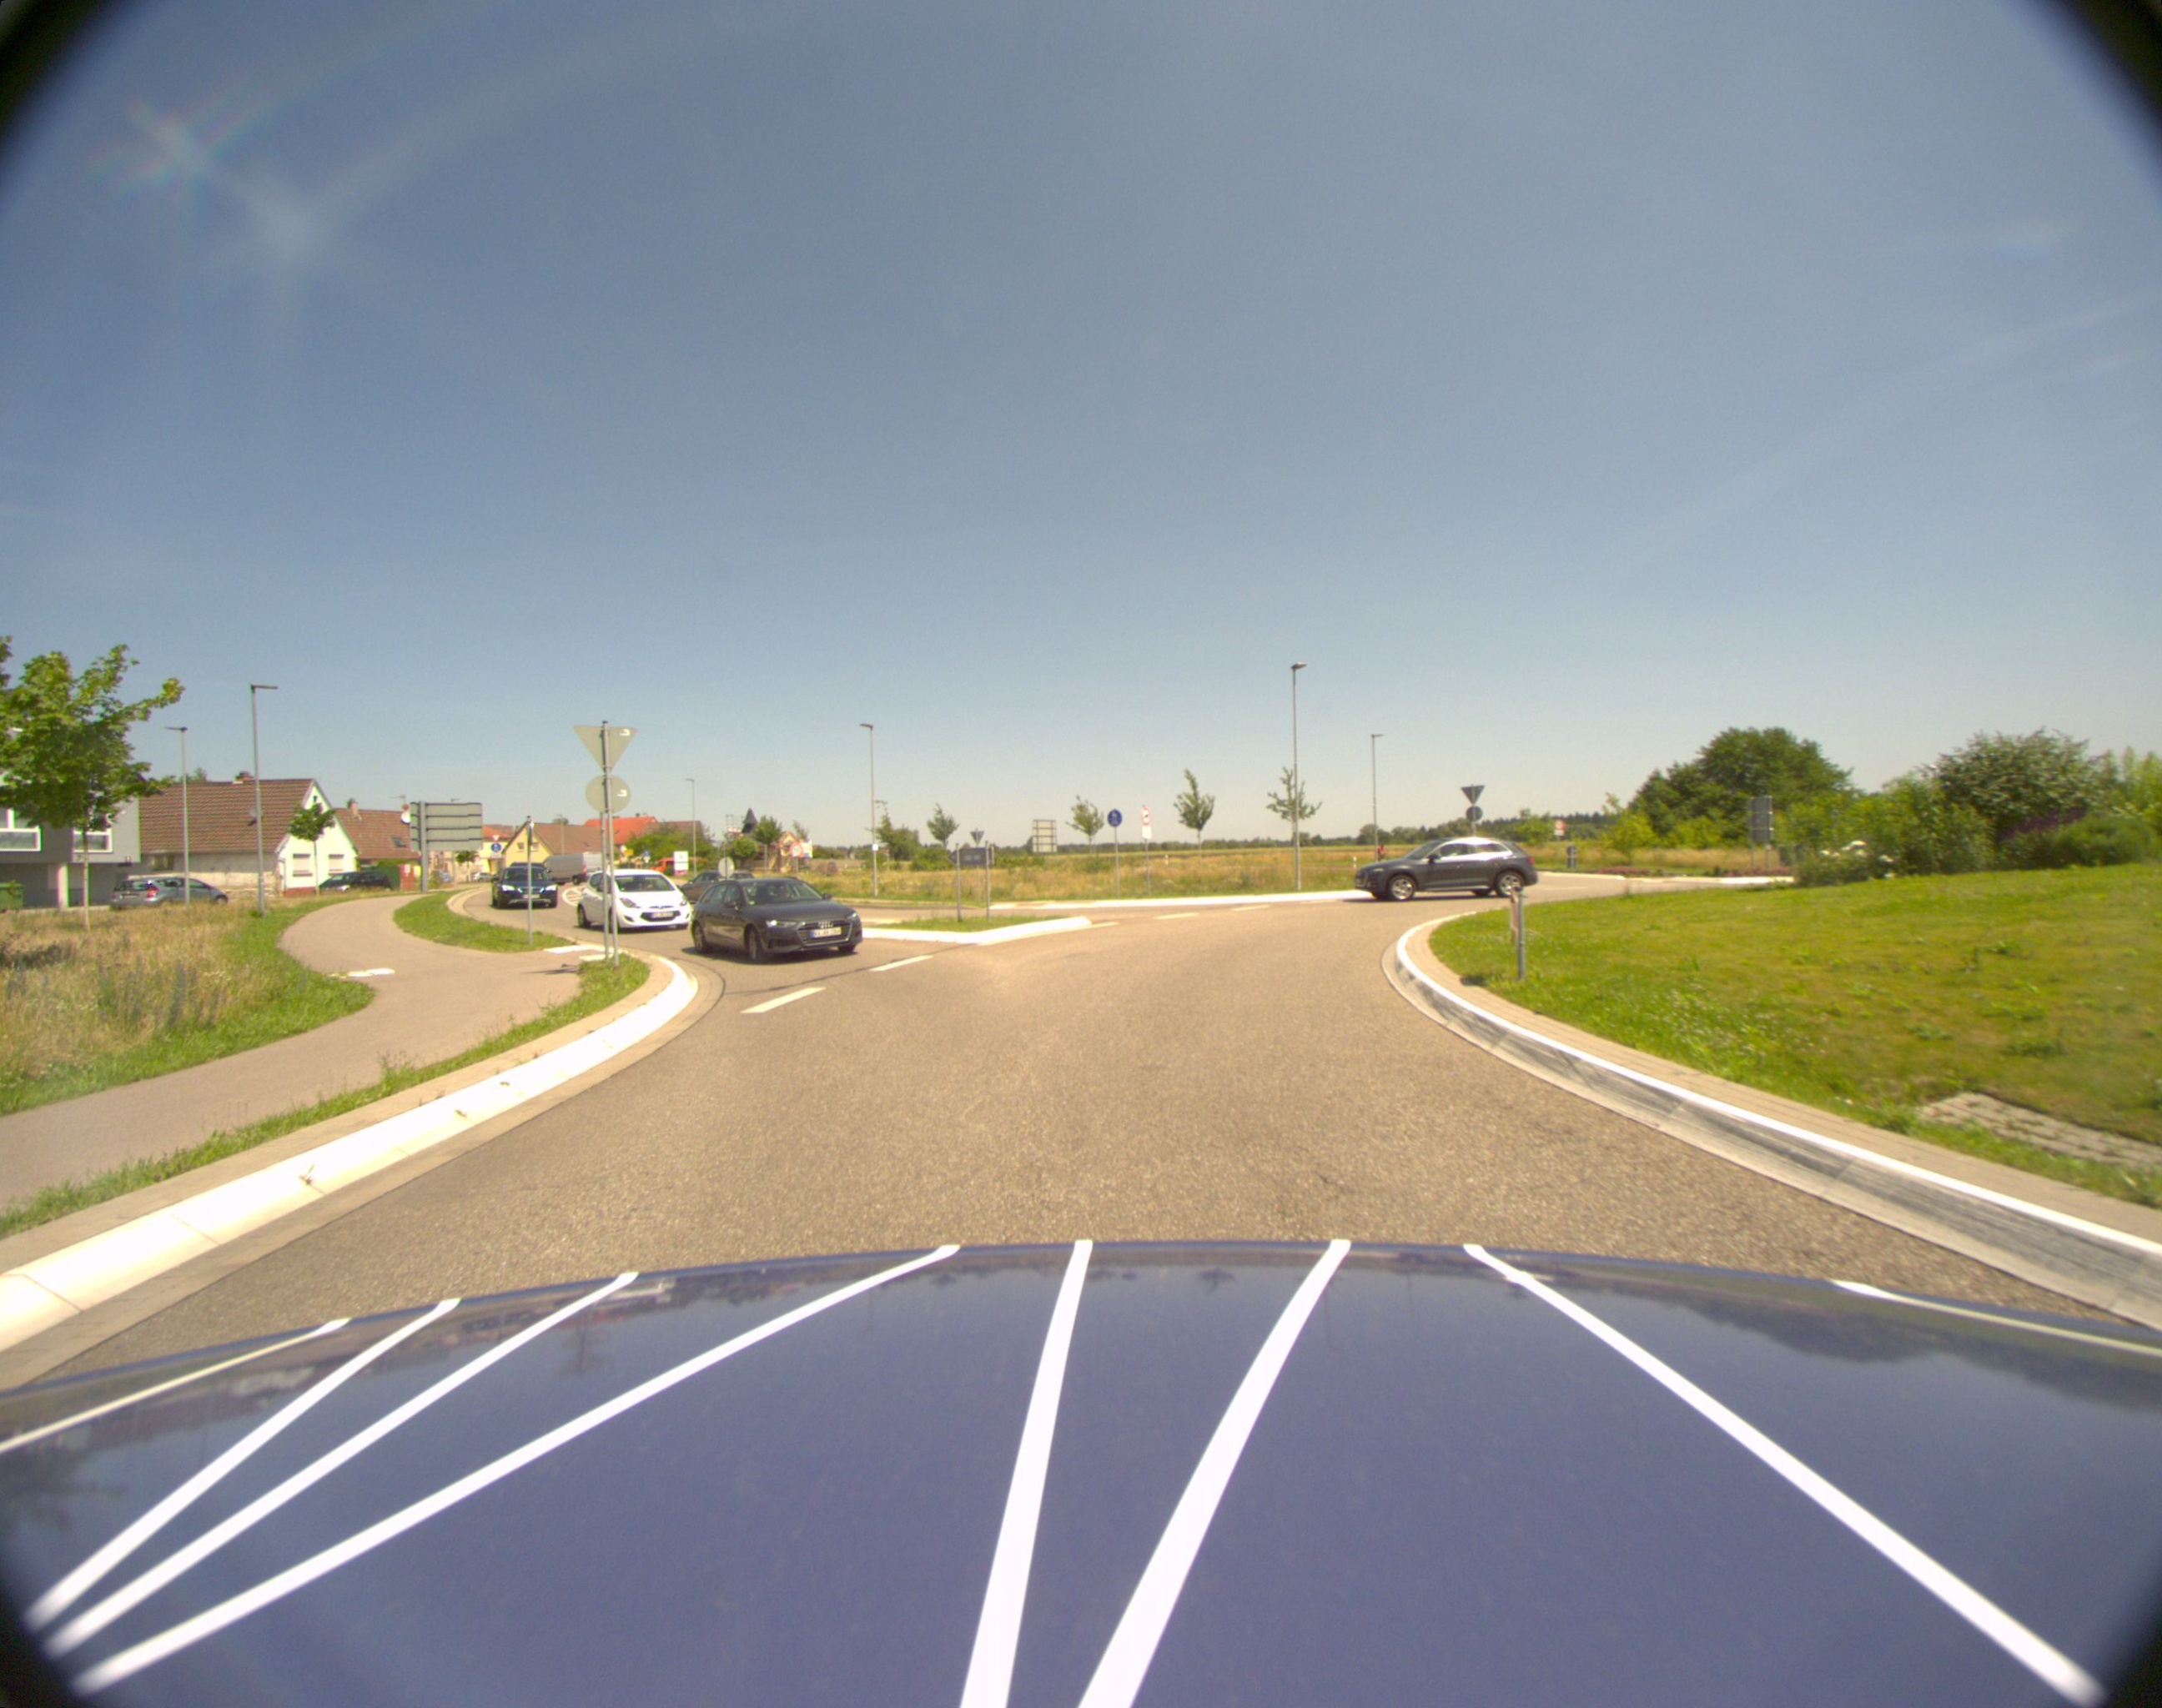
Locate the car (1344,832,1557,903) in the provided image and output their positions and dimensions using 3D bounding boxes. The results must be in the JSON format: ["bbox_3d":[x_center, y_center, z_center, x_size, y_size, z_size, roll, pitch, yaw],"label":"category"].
[{"bbox_3d":[10.106,0.380,21.116,4.884,1.639,1.954,-3,0,4],"label":"car"}]

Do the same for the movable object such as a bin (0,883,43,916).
[{"bbox_3d":[-47.738,2.041,33.916,1.086,1.381,1.202,-1,0,-8],"label":"movable object such as a bin"}]

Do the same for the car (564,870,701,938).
[{"bbox_3d":[-12.172,1.258,20.500,4.508,1.553,1.873,-1,1,43],"label":"car"}]

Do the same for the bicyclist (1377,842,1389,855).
[{"bbox_3d":[25.580,-0.449,64.292,0.580,1.072,0.722,-2,1,-37],"label":"bicyclist"}]

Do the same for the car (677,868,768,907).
[{"bbox_3d":[-15.312,1.410,32.309,4.854,1.482,1.841,-2,0,44],"label":"car"}]

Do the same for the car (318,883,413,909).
[{"bbox_3d":[-42.446,2.465,45.178,1.852,1.343,3.769,-1,0,6],"label":"car"}]

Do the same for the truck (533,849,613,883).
[{"bbox_3d":[-39.701,0.924,59.379,5.624,2.491,2.240,-1,0,19],"label":"truck"}]

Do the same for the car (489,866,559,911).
[{"bbox_3d":[-21.916,1.303,29.851,1.725,1.553,4.140,-3,1,-42],"label":"car"}]

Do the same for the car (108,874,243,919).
[{"bbox_3d":[-41.729,1.910,35.174,1.855,1.820,3.996,-1,0,-11],"label":"car"}]

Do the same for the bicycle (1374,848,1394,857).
[{"bbox_3d":[25.628,-0.136,64.232,0.580,0.725,1.466,-2,0,-37],"label":"bicycle"}]

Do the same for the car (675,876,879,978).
[{"bbox_3d":[-5.786,1.213,14.130,1.873,1.426,4.508,-5,3,-44],"label":"car"}]

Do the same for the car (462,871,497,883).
[{"bbox_3d":[-81.869,3.156,103.457,1.517,1.461,3.585,-1,0,13],"label":"car"}]

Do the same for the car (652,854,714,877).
[{"bbox_3d":[-47.367,1.306,90.563,6.129,2.569,2.357,-1,0,4],"label":"car"}]
